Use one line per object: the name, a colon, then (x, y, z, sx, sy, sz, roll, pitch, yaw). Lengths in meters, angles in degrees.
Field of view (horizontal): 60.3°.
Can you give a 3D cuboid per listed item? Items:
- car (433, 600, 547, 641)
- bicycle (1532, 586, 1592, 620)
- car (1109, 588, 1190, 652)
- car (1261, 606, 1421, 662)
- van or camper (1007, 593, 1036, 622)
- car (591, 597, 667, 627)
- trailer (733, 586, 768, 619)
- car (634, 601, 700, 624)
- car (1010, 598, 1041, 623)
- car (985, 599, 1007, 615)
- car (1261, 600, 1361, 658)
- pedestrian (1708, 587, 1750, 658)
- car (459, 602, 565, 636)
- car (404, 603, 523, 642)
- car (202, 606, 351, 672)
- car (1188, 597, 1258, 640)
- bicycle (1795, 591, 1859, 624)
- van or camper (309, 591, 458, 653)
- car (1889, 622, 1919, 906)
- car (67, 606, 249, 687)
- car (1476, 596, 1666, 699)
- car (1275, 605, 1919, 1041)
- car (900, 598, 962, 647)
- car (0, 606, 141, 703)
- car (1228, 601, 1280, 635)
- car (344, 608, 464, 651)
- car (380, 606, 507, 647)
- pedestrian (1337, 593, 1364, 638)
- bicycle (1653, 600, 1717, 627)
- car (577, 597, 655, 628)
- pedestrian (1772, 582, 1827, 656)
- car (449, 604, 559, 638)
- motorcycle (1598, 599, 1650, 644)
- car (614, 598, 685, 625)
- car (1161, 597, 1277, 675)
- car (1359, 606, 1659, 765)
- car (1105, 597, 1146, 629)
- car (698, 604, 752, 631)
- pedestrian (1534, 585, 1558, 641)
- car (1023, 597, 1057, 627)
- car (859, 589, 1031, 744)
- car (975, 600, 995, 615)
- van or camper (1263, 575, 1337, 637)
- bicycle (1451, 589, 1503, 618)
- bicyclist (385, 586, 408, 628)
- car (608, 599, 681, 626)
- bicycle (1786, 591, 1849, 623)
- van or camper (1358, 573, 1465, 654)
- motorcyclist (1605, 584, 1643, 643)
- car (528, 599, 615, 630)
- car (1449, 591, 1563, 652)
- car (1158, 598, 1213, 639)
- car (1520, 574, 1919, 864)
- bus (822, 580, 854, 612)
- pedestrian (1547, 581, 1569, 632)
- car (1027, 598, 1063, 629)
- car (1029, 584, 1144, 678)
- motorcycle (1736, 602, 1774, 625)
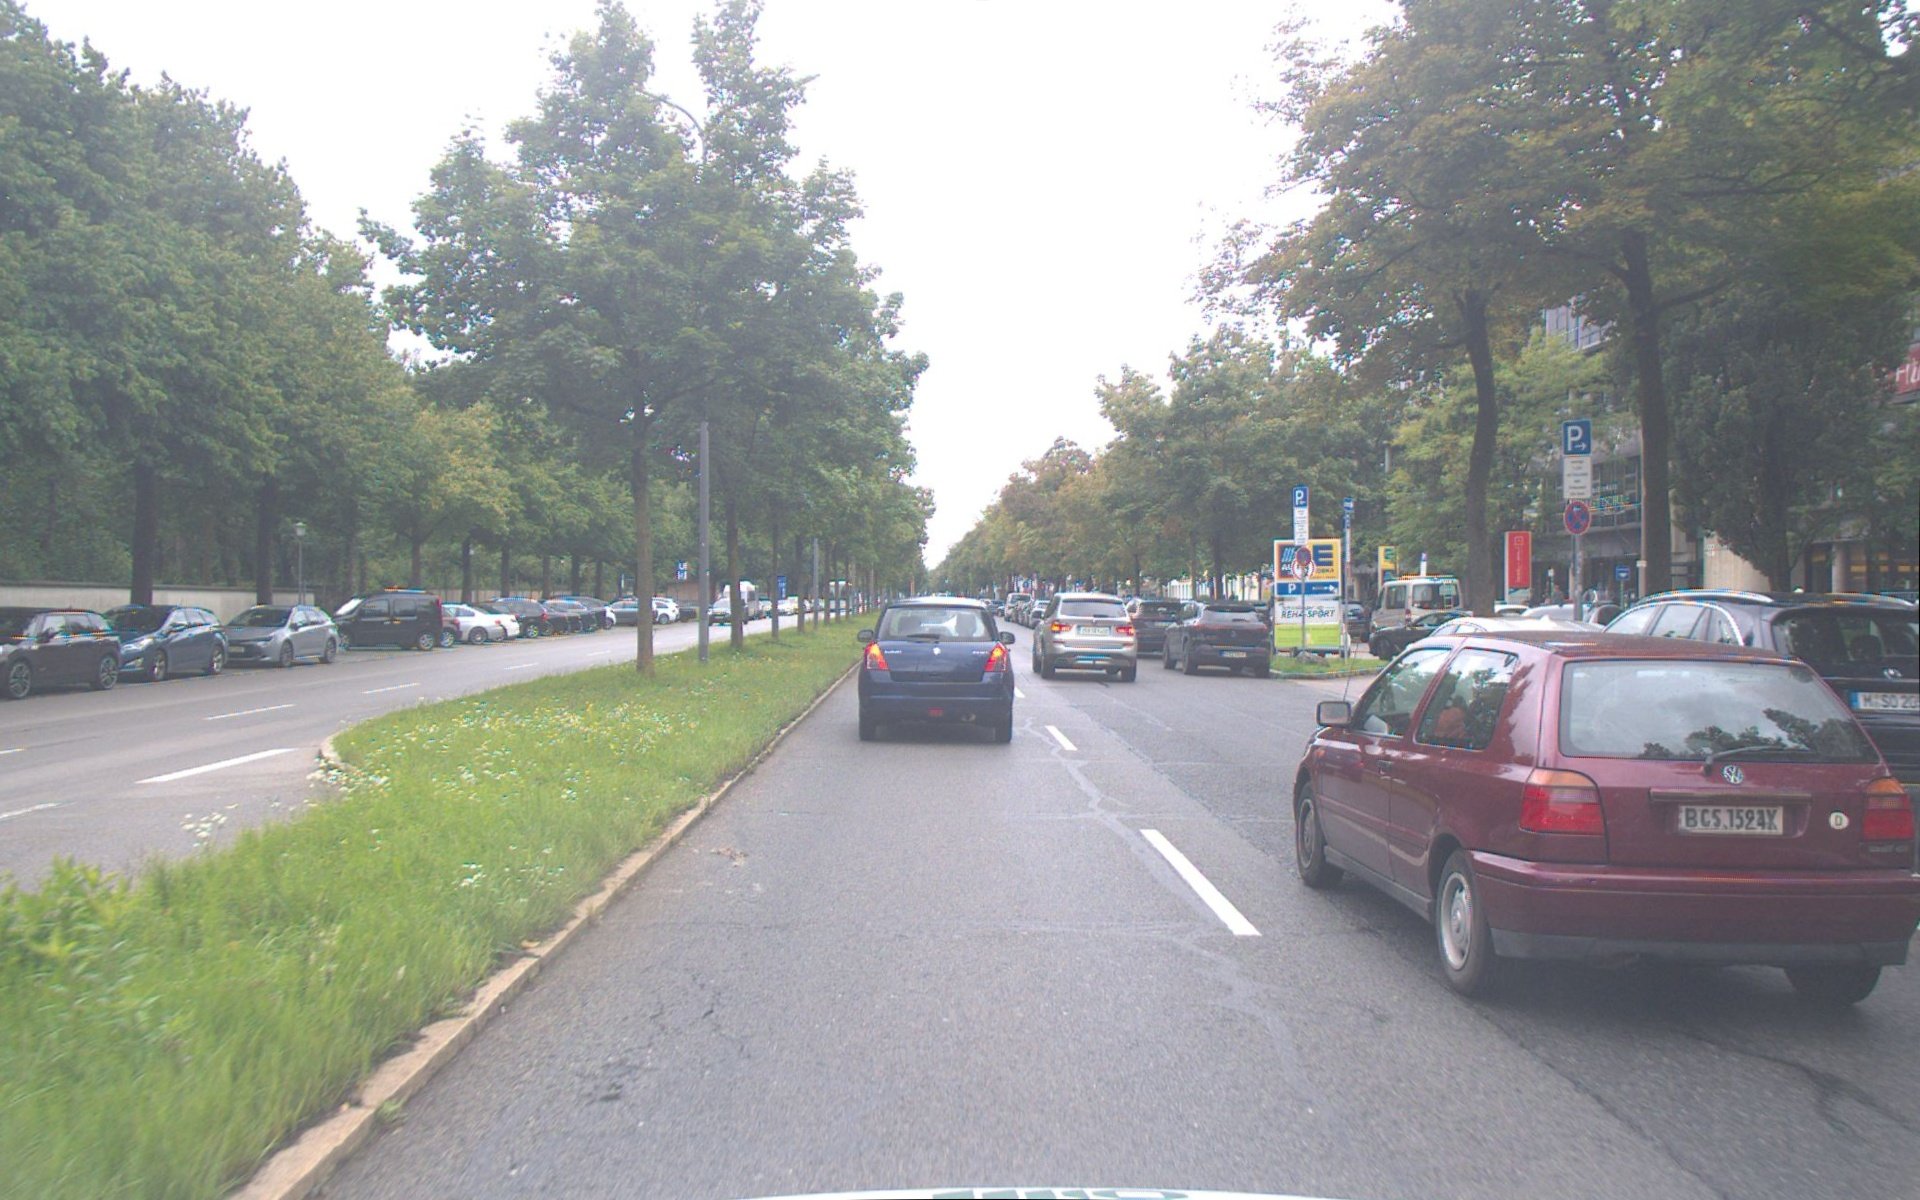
car: (-19.051, 0.809, 67.111, 4.070, 1.625, 1.891, 0, 0, -40)
bicycle: (27.267, 0.147, 74.941, 2.566, 1.534, 0.795, 0, 0, -15)
car: (5.312, 0.537, 46.881, 1.725, 1.730, 4.819, 0, 0, 0)
car: (10.861, 0.931, 47.488, 1.667, 1.479, 4.787, 0, 0, -31)
van or camper: (4.310, 0.505, 116.054, 1.905, 2.009, 4.306, 0, 0, 0)
car: (-19.667, 0.684, 98.433, 4.059, 1.725, 1.896, 0, 0, -35)
trailer: (-16.370, 0.188, 129.507, 2.063, 2.585, 5.575, 0, 0, -1)
car: (-19.731, 0.843, 111.434, 4.059, 1.500, 1.684, 1, -1, -35)
car: (4.317, 0.672, 109.682, 1.651, 1.581, 4.303, 0, 0, -4)
car: (3.313, 0.659, 154.482, 1.813, 1.472, 4.095, 0, 0, -3)
car: (9.838, 0.778, 46.624, 1.728, 1.514, 3.997, 2, 0, -4)
pedestrian: (19.355, 0.552, 41.663, 0.528, 1.751, 0.987, -2, 0, -1)
car: (-19.800, 0.825, 73.147, 4.149, 1.434, 1.896, 0, 0, -35)
car: (-18.517, 0.813, 61.744, 3.999, 1.405, 1.653, 0, 0, -37)
car: (-16.619, 0.907, 40.470, 1.602, 1.464, 4.808, 1, 0, 0)
car: (9.396, 0.632, 59.402, 1.713, 1.505, 4.007, 0, 0, -2)
bicycle: (32.242, 0.262, 61.512, 2.094, 1.225, 0.586, 0, 0, -3)
van or camper: (-18.110, 0.655, 52.024, 4.090, 1.887, 1.822, 0, 0, -42)
car: (5.819, 0.852, 6.701, 1.600, 1.464, 4.303, 0, 0, -2)
car: (-16.496, 0.907, 34.282, 1.554, 1.484, 4.797, 1, 0, -2)
car: (10.947, 0.794, 29.433, 1.934, 1.653, 4.827, 1, 0, 36)
car: (2.679, 0.770, 7.671, 1.589, 1.479, 3.948, 0, 0, -2)
car: (-0.940, 0.671, 51.329, 1.813, 1.472, 4.095, 0, 0, -3)
car: (-16.202, 0.891, 28.794, 1.538, 1.529, 4.305, 1, 0, 3)
car: (15.022, 0.895, 84.748, 1.650, 1.661, 4.496, 0, 0, -3)
car: (-18.473, 0.955, 54.972, 3.533, 1.378, 1.735, 0, 0, -32)
car: (-18.286, 0.922, 58.589, 3.955, 1.378, 1.827, 0, 0, -36)
pedestrian: (16.413, 0.644, 69.553, 0.857, 1.883, 0.903, 1, 0, -2)
bicycle: (26.246, 0.471, 59.880, 2.012, 0.975, 0.742, 0, 0, 43)
car: (-19.830, 0.699, 95.340, 4.059, 1.725, 1.896, 0, 0, -35)
pedestrian: (20.518, 0.462, 40.451, 0.811, 1.751, 0.939, -2, 0, -1)
car: (-19.348, 0.871, 70.272, 4.153, 1.345, 1.896, 0, 0, -35)
motorcycle: (20.632, 0.658, 51.426, 0.682, 1.313, 2.066, -4, 0, -1)
car: (-19.751, 0.702, 105.361, 4.059, 1.681, 1.896, 0, 0, -35)
car: (5.672, 0.754, 36.754, 1.726, 1.617, 4.450, 0, 0, -2)
car: (5.679, 0.809, 17.722, 1.620, 1.459, 4.481, 0, 0, -2)
car: (8.747, 0.661, 87.677, 1.650, 1.661, 4.779, 0, 0, -1)
car: (-14.027, 1.035, 98.783, 1.872, 1.569, 4.191, 0, 0, 12)
pedestrian: (18.869, 0.416, 53.267, 0.563, 1.782, 0.732, 0, 0, 3)
car: (4.538, 0.662, 94.271, 1.650, 1.654, 4.306, 1, 0, 0)
car: (-0.241, 0.676, 18.859, 1.753, 1.583, 3.998, 0, 0, -3)
car: (2.515, 0.740, 168.312, 1.813, 1.472, 4.095, 0, 0, -3)
van or camper: (14.892, 0.243, 72.789, 1.983, 2.602, 5.955, 0, 0, -1)
bicycle: (27.416, 0.181, 87.767, 2.560, 1.534, 0.797, 0, 0, -8)
bicyclist: (-23.855, 0.290, 70.013, 0.690, 1.777, 0.922, 0, 0, -1)
car: (-19.495, 0.737, 102.334, 4.059, 1.612, 1.896, 0, 0, -35)
bicycle: (32.208, 0.259, 62.123, 2.094, 1.225, 0.586, 0, 0, -3)
van or camper: (15.273, 0.431, 56.271, 1.953, 2.602, 5.955, 0, 0, -1)
motorcyclist: (20.620, 0.421, 51.377, 0.677, 1.767, 0.953, -4, 0, -1)
car: (-20.184, 0.728, 85.968, 4.054, 1.527, 1.899, 0, 0, -32)
car: (15.777, 0.589, 47.981, 1.953, 1.680, 3.999, 0, 0, -1)
car: (9.093, 0.734, 67.033, 1.650, 1.613, 4.008, 0, 0, -1)
car: (5.788, 0.700, 12.057, 1.750, 1.704, 4.594, 0, 0, -2)
bus: (-13.763, -0.398, 187.562, 2.682, 3.436, 12.012, -2, 0, 0)
pedestrian: (21.212, 0.226, 58.681, 0.563, 1.782, 0.732, 0, 0, 3)
car: (4.530, 0.697, 88.472, 1.650, 1.552, 4.455, 2, 0, 0)
car: (2.463, 0.581, 33.114, 1.813, 1.773, 4.095, 0, 0, -3)
motorcycle: (30.050, 0.503, 62.545, 0.834, 0.881, 1.569, 0, 0, 6)
